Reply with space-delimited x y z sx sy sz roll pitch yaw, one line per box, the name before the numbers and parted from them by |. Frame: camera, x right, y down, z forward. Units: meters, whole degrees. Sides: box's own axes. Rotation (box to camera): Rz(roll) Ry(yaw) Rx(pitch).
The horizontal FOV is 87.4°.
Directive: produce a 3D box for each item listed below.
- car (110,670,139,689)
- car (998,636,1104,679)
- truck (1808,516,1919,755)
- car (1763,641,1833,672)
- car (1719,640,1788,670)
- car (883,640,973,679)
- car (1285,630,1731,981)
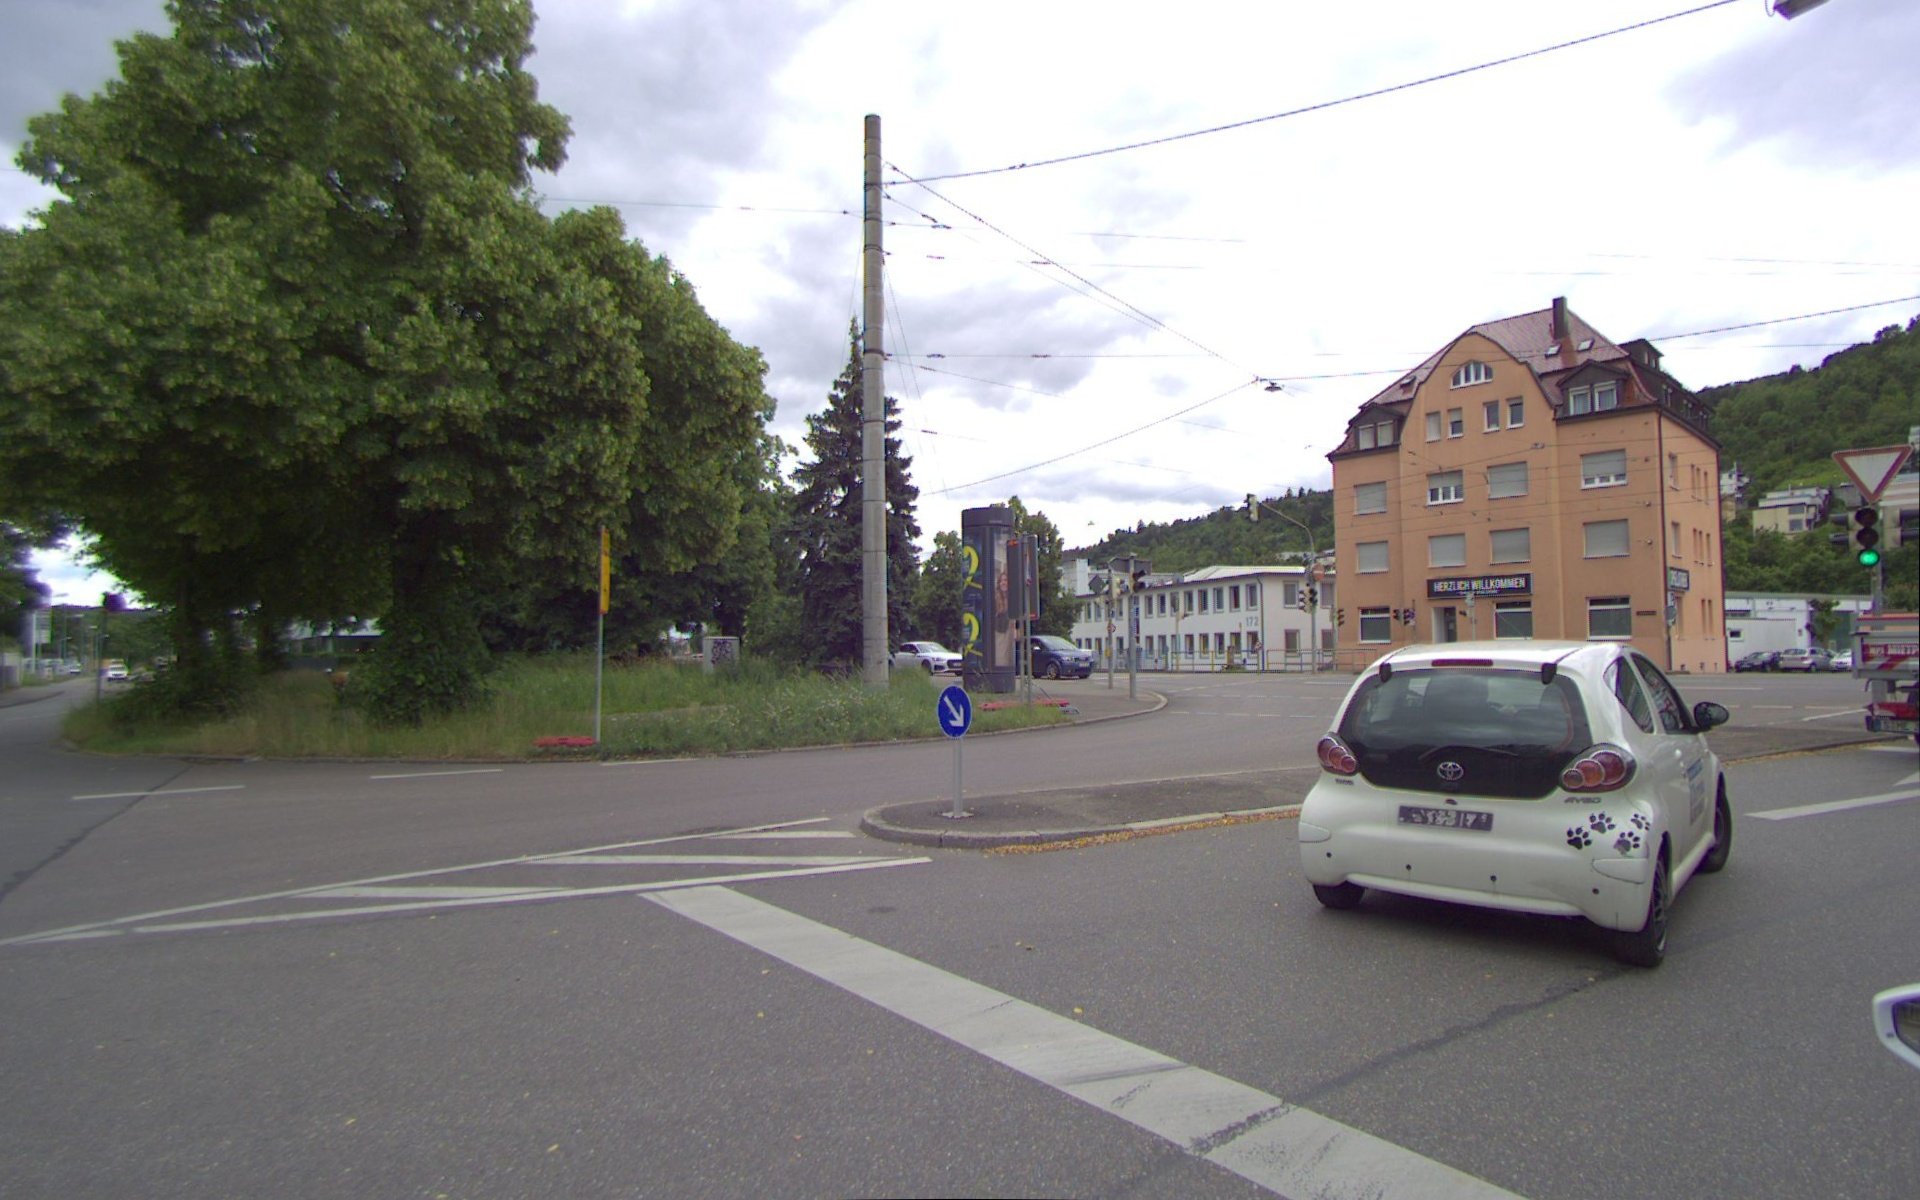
car | -92.386 8.736 111.120 1.812 1.970 4.532 0 -3 -31
car | 3.152 2.022 35.332 1.733 1.410 3.665 0 -3 -37
truck | 12.457 0.349 11.339 5.579 2.453 2.306 0 -3 -26
car | 54.118 3.670 64.852 4.456 1.863 1.984 2 0 -29
car | 52.771 3.639 66.799 4.455 1.863 1.985 2 0 -28
car | -1.354 2.417 41.069 1.731 1.445 4.127 0 -3 -34
car | 3.388 0.913 5.932 1.576 1.439 3.356 -2 -3 42
